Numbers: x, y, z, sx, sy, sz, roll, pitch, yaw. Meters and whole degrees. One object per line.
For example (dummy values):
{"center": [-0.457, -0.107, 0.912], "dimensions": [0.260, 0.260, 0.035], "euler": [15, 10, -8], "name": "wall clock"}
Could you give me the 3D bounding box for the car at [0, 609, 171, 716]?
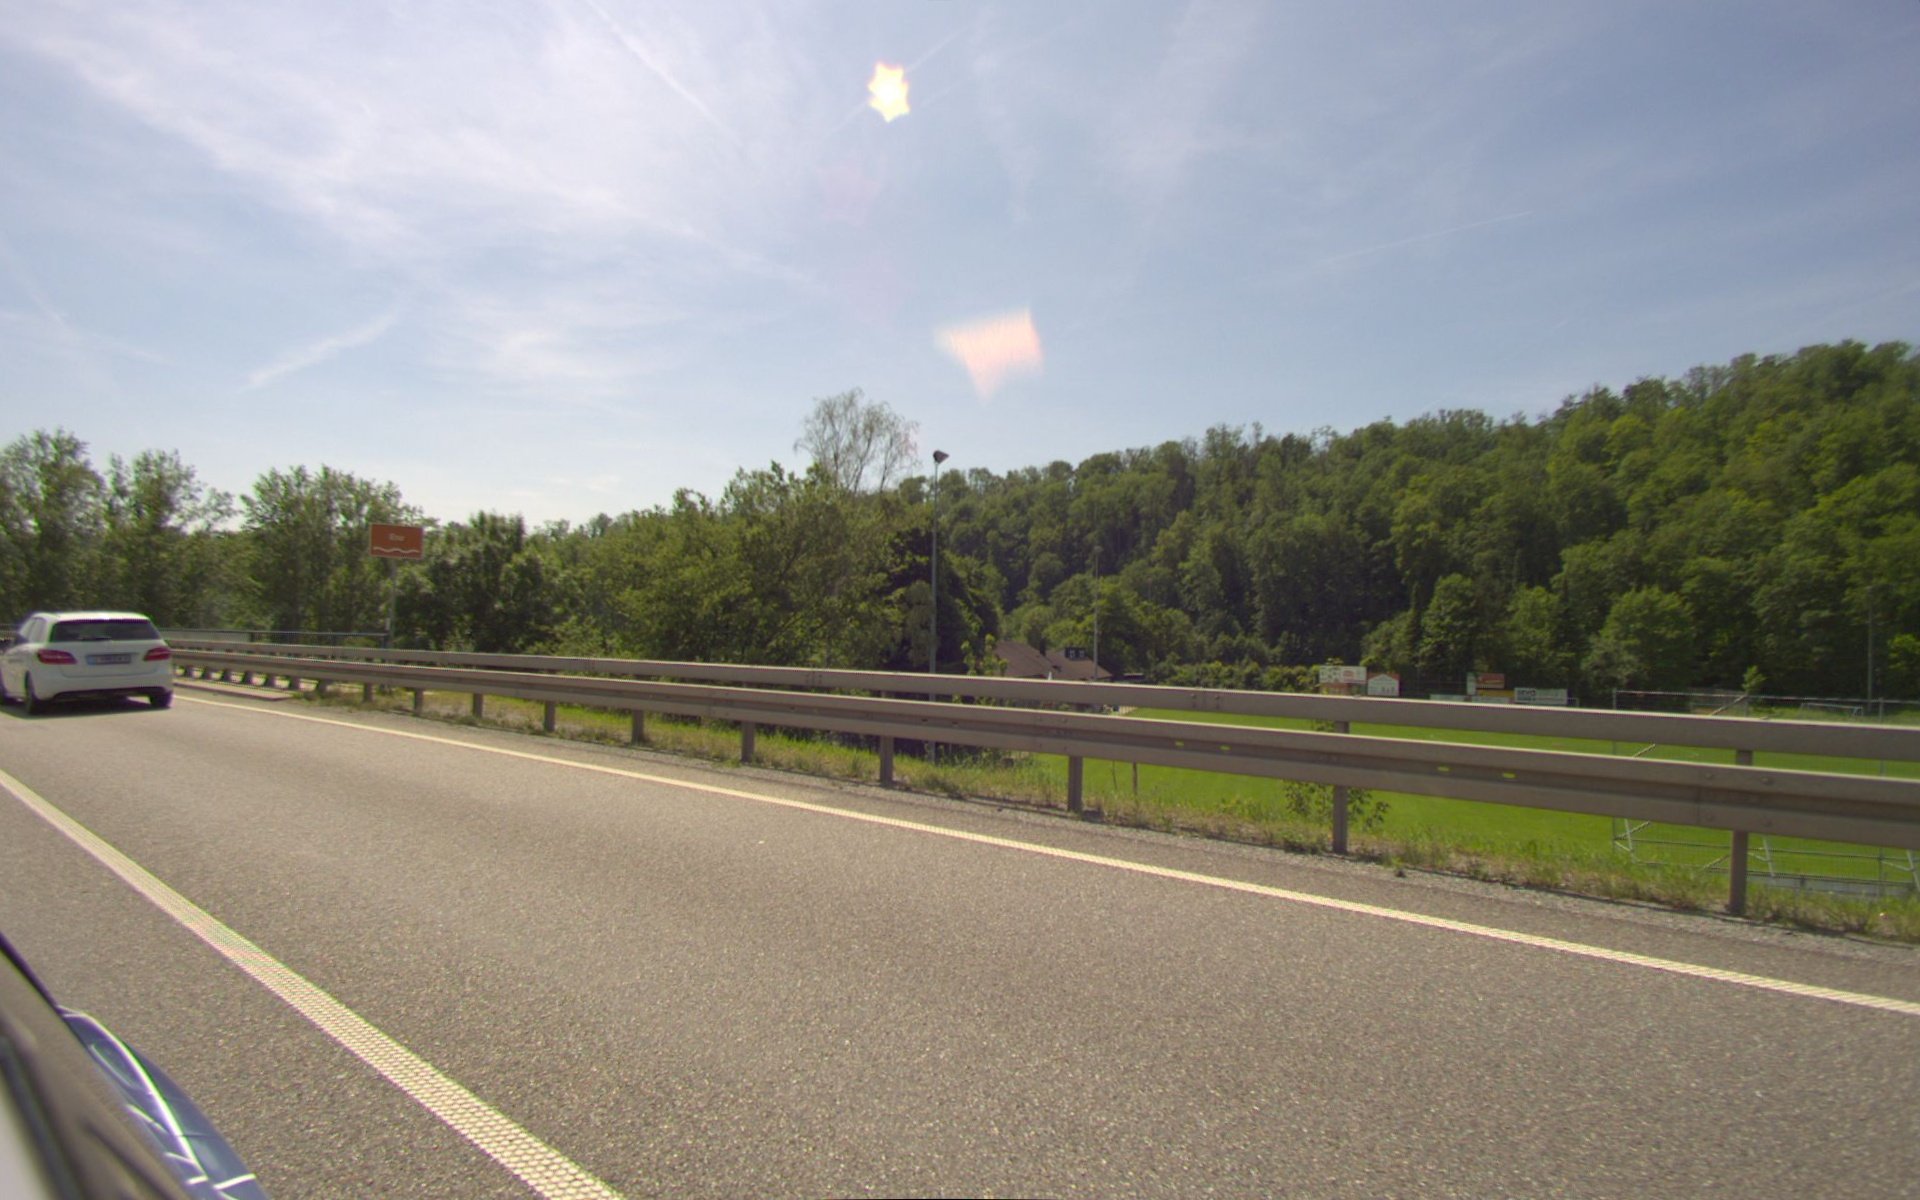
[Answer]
{"center": [-14.486, 0.952, 16.537], "dimensions": [3.997, 1.523, 1.740], "euler": [-2, -1, 40], "name": "car"}
